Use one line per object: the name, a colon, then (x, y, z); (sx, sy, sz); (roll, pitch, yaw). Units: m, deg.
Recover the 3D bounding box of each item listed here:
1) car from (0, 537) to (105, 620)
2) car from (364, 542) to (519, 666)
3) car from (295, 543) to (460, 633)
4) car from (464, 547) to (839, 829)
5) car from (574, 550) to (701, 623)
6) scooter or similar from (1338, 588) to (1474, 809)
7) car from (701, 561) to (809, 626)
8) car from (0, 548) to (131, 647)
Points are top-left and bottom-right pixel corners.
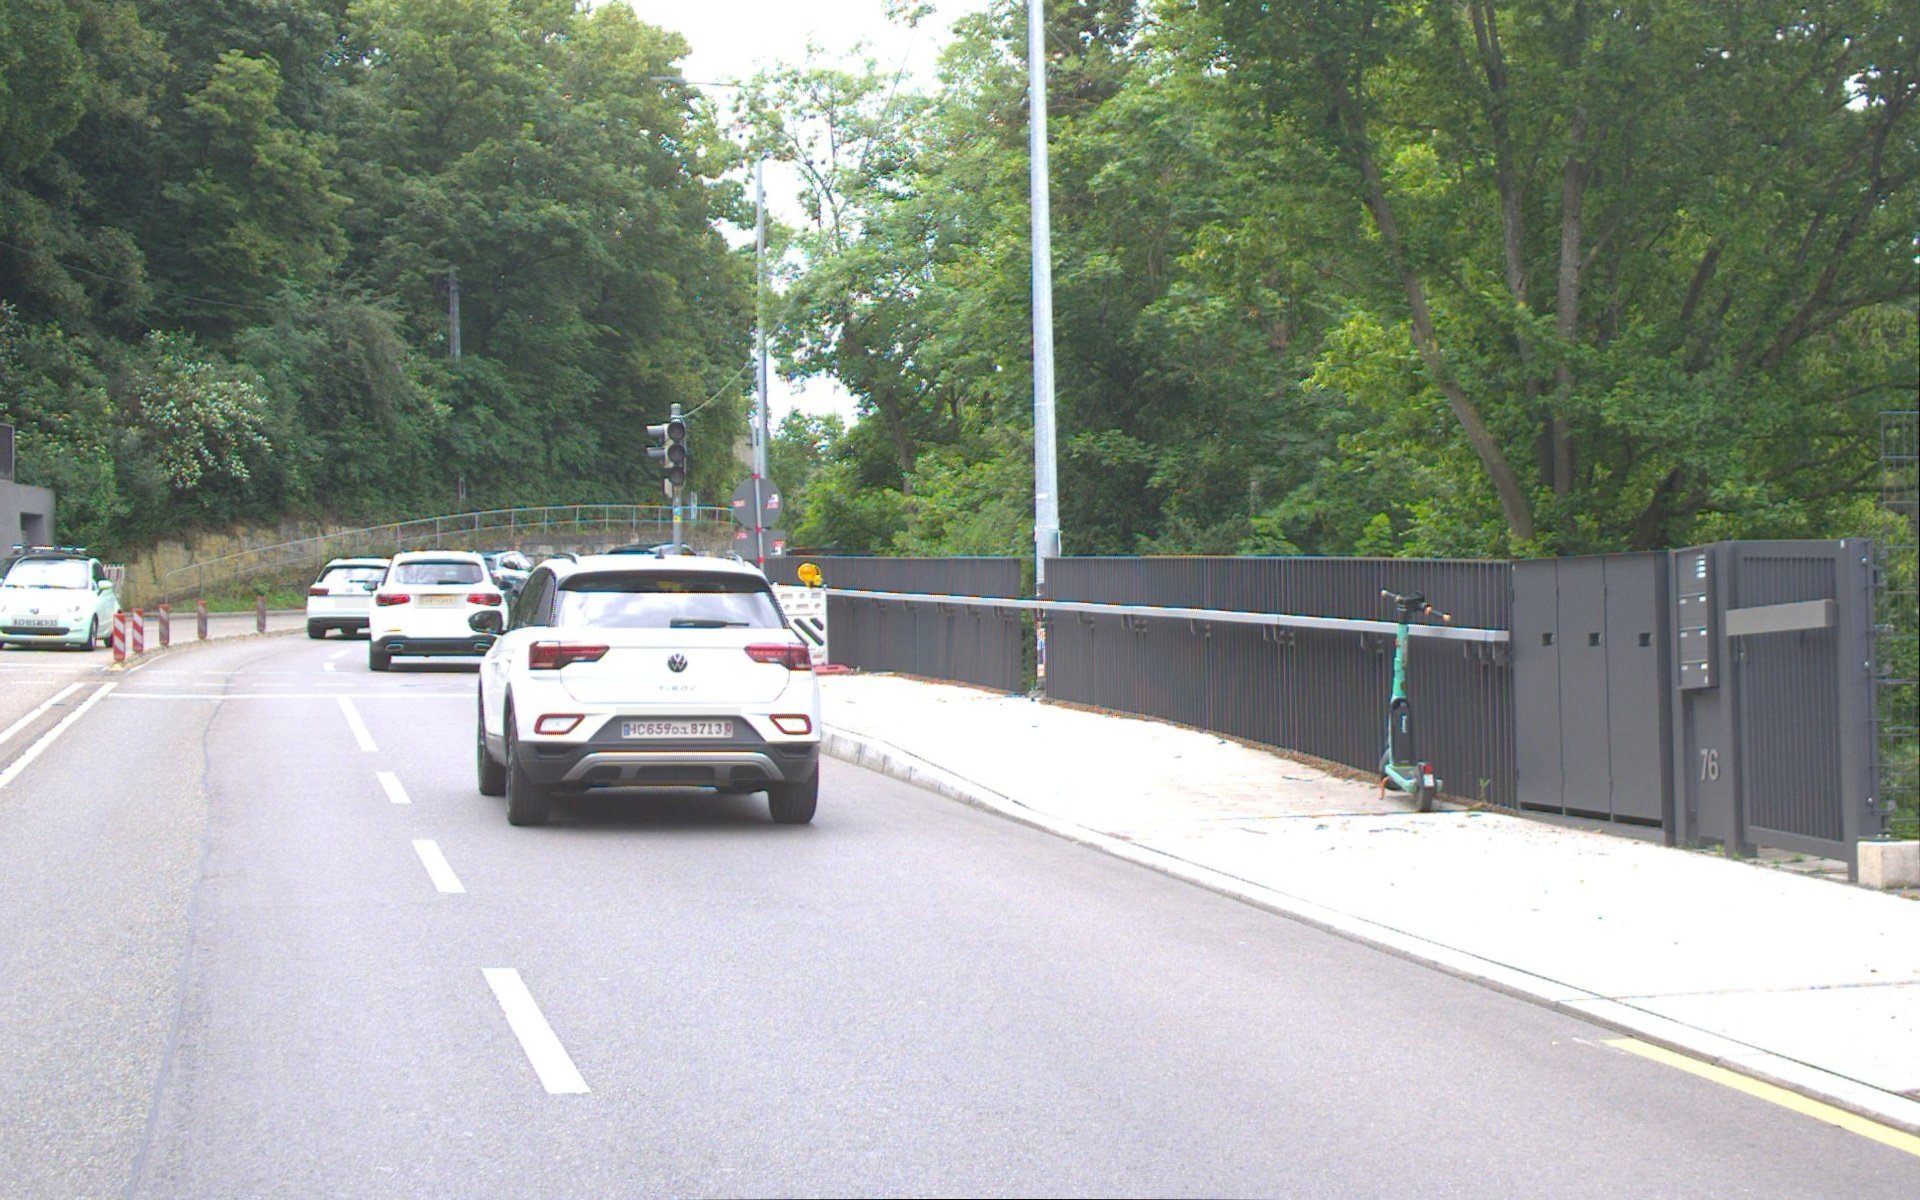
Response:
car: (-17.341, -0.430, 64.235); (1.711, 1.461, 3.660); (2, 1, 1)
car: (-7.136, 0.032, 47.627); (1.993, 1.581, 4.001); (2, 0, -7)
car: (-10.771, -0.221, 63.797); (1.907, 1.568, 3.999); (2, 0, 7)
car: (-1.953, 0.466, 20.721); (1.866, 1.531, 3.804); (1, 1, -11)
car: (-7.809, -0.323, 83.611); (1.817, 1.684, 3.997); (2, 0, 13)
scooter or similar: (2.629, 0.563, 20.351); (0.534, 1.222, 1.206); (-1, 2, -5)
car: (-5.582, -0.174, 93.993); (1.817, 1.684, 3.997); (2, 0, 13)
car: (-14.373, -0.062, 54.502); (1.711, 1.461, 3.661); (2, 1, -3)
